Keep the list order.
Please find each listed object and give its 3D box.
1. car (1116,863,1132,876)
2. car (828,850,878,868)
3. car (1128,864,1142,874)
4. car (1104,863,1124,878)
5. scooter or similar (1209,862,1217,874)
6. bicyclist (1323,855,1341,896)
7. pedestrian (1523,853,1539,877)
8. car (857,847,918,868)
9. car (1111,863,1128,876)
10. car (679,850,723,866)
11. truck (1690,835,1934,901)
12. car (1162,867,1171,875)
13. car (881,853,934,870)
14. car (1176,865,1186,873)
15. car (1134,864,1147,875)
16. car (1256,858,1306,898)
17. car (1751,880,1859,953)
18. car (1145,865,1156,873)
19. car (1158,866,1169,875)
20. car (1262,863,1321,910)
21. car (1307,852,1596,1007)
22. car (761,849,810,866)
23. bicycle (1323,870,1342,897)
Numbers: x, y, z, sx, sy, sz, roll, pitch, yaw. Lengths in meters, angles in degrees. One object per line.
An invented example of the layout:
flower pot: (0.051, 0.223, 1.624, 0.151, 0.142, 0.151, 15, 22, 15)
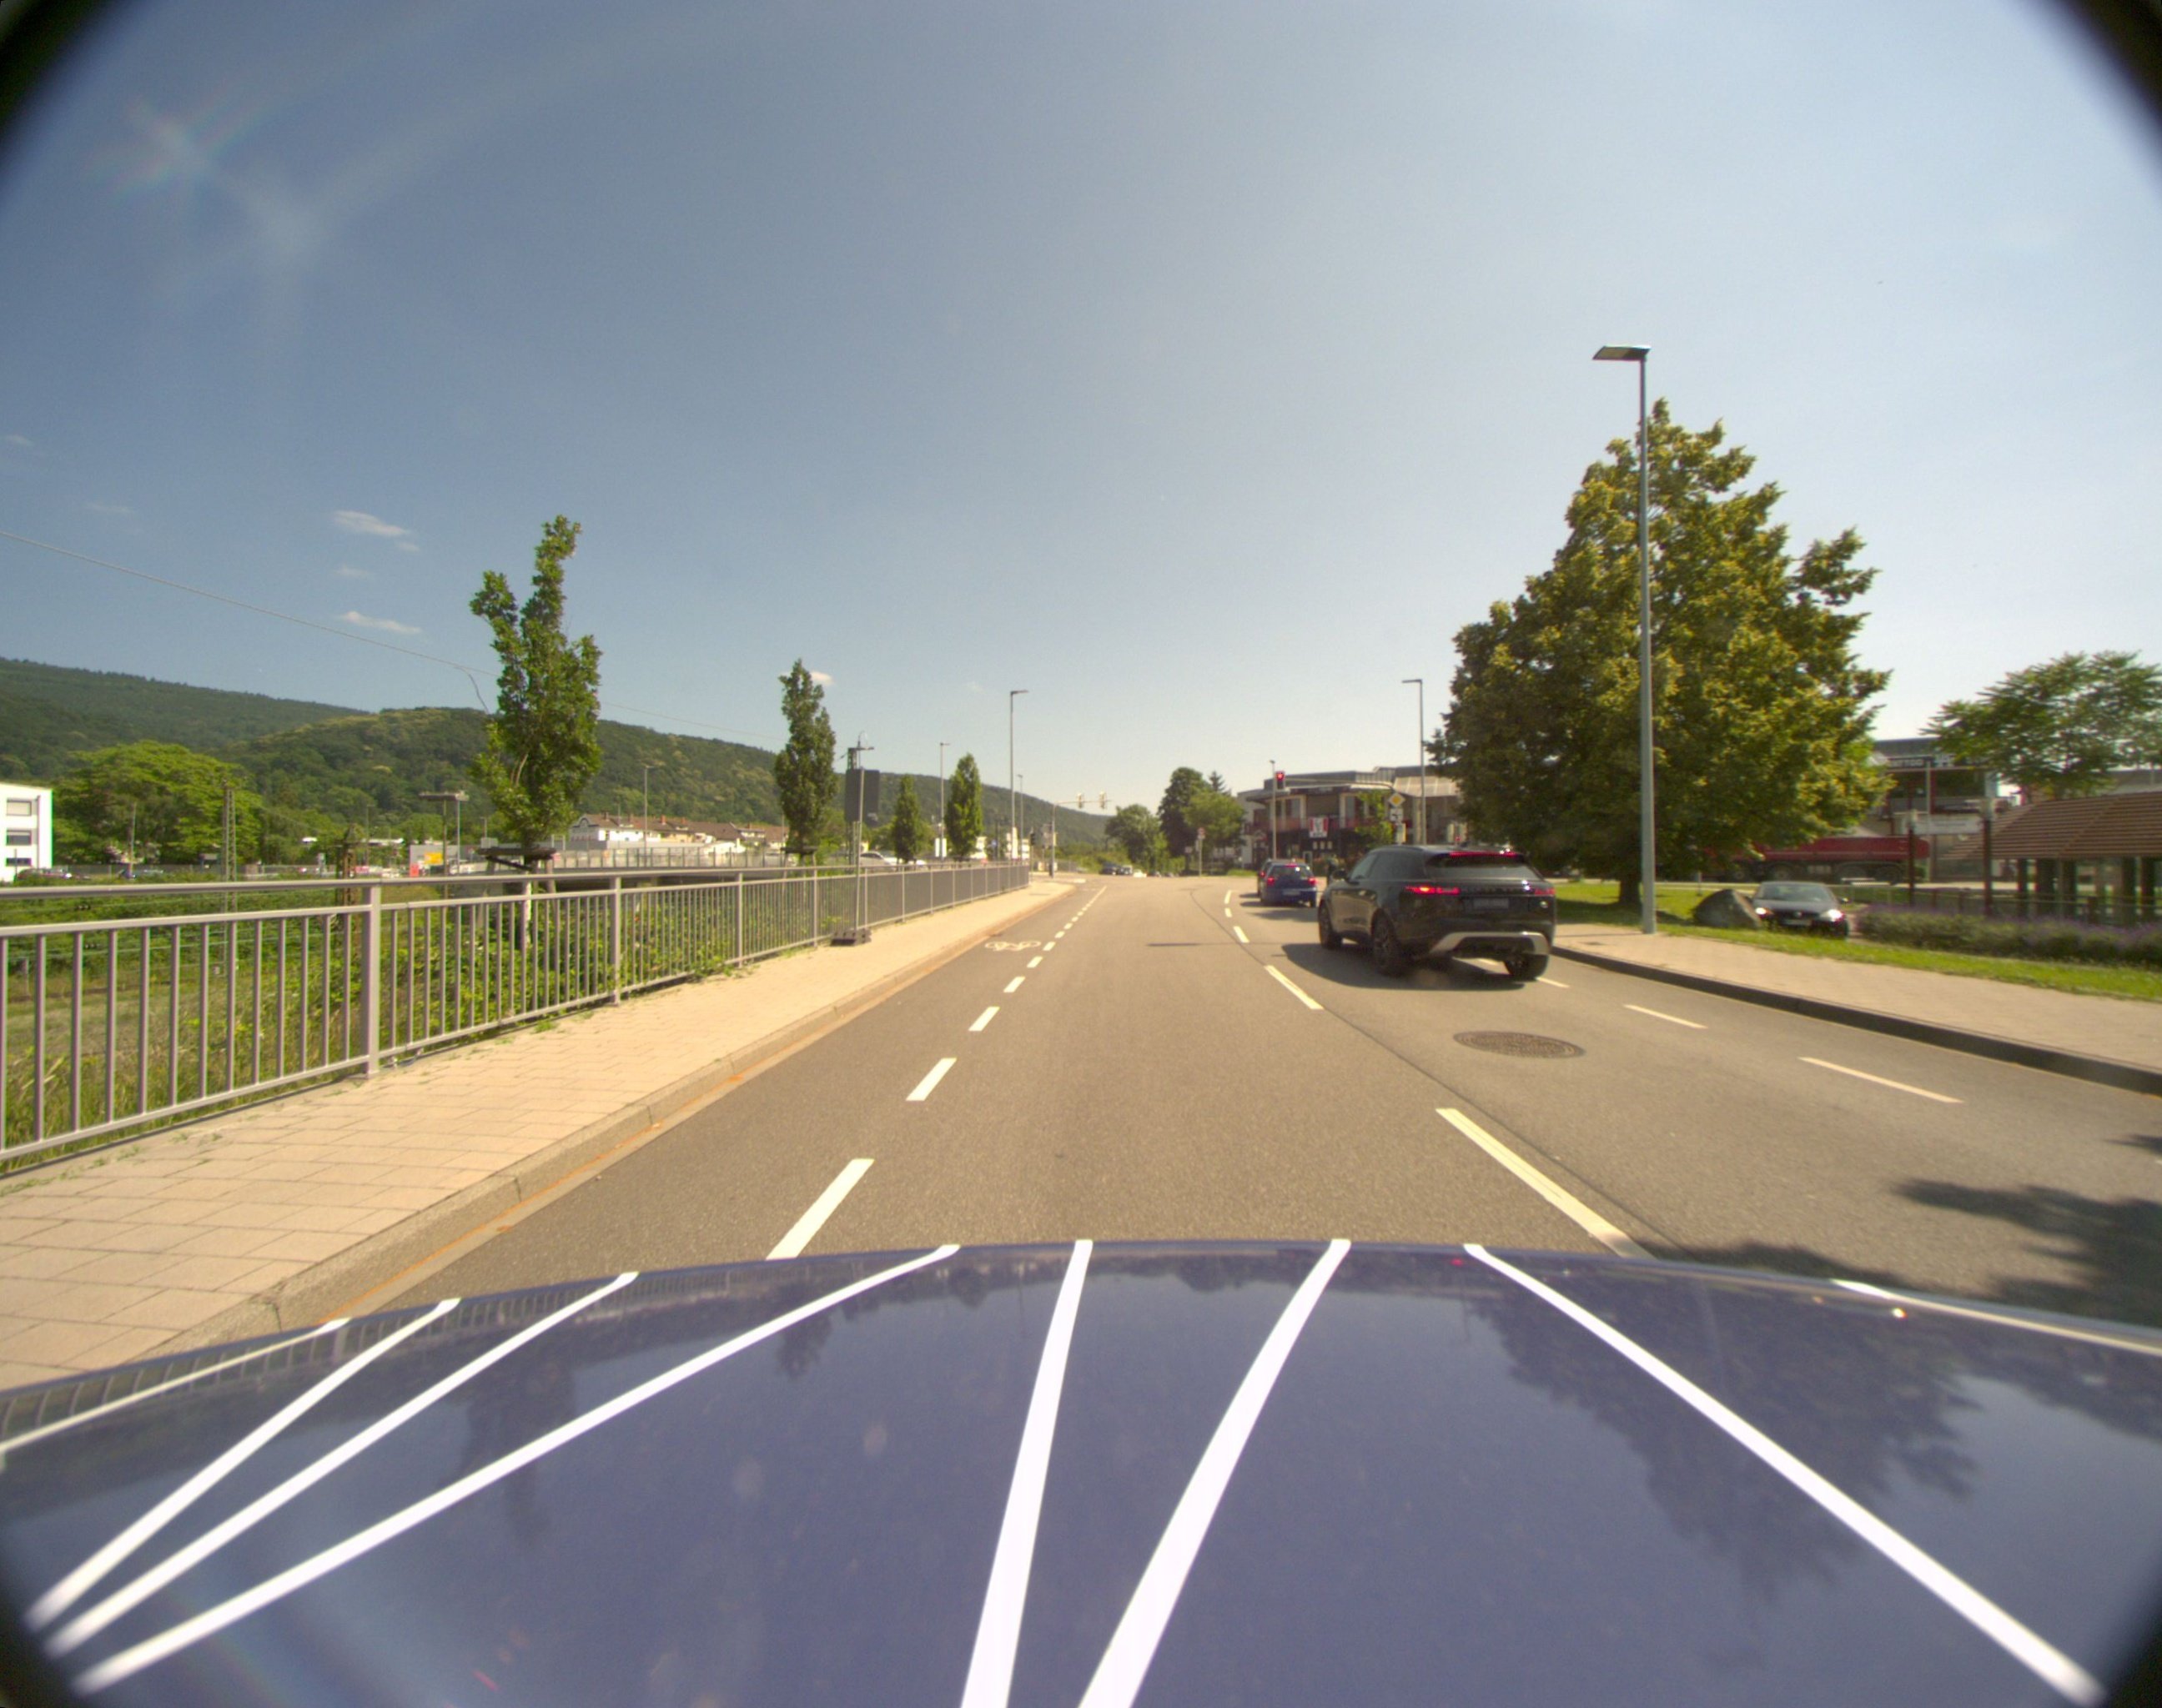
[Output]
car: (5.475, 1.931, 95.888, 1.671, 1.523, 4.003, 0, 0, 8)
car: (-21.029, 0.461, 70.003, 4.430, 1.617, 1.740, 0, 0, 28)
car: (7.542, 2.115, 106.255, 1.671, 1.309, 4.003, 0, 0, 8)
car: (3.799, 1.792, 85.820, 1.828, 1.617, 4.240, 0, 0, 9)
scooter or similar: (12.144, 1.267, 69.872, 0.426, 1.117, 1.454, 0, 0, 22)
bicyclist: (11.172, 0.953, 33.815, 0.711, 1.778, 0.810, 0, 0, 16)
pedestrian: (30.482, 0.734, 51.447, 0.843, 1.636, 0.731, 0, 0, -43)
car: (-16.115, 0.308, 63.188, 4.621, 1.709, 2.003, 0, 0, 23)
car: (4.625, 1.844, 90.851, 1.671, 1.523, 4.003, 0, 0, 8)
car: (-39.564, 0.459, 79.073, 4.431, 1.617, 1.740, -1, 0, 26)
truck: (39.891, 0.759, 42.051, 9.144, 3.366, 3.321, 0, -1, 27)
car: (16.662, 3.290, 147.455, 1.671, 1.523, 4.003, 0, 0, 8)
car: (-15.159, 0.673, 66.322, 4.398, 1.461, 1.740, 0, 0, 28)
car: (21.532, 3.235, 163.463, 1.671, 1.718, 4.003, -4, -1, 11)
car: (8.931, 2.298, 113.334, 1.671, 1.523, 4.003, 0, 0, 8)
car: (7.888, 0.893, 30.222, 1.782, 1.488, 4.728, 0, 0, 13)
car: (18.565, 1.515, 19.614, 1.860, 1.543, 4.197, 0, 0, 42)
car: (11.953, 2.556, 130.779, 1.671, 1.427, 4.003, 0, 0, 8)
car: (15.337, 3.082, 141.042, 1.671, 1.523, 4.003, -4, -1, 11)
car: (6.687, 0.974, 24.473, 1.658, 1.372, 4.004, 0, 0, 13)
car: (4.738, 0.841, 10.640, 1.954, 1.685, 4.614, 0, 0, 2)
car: (-28.391, 0.307, 73.086, 4.431, 1.617, 1.740, 0, 0, 23)
bicycle: (11.188, 1.291, 33.864, 0.698, 1.098, 1.757, 2, 0, 16)
